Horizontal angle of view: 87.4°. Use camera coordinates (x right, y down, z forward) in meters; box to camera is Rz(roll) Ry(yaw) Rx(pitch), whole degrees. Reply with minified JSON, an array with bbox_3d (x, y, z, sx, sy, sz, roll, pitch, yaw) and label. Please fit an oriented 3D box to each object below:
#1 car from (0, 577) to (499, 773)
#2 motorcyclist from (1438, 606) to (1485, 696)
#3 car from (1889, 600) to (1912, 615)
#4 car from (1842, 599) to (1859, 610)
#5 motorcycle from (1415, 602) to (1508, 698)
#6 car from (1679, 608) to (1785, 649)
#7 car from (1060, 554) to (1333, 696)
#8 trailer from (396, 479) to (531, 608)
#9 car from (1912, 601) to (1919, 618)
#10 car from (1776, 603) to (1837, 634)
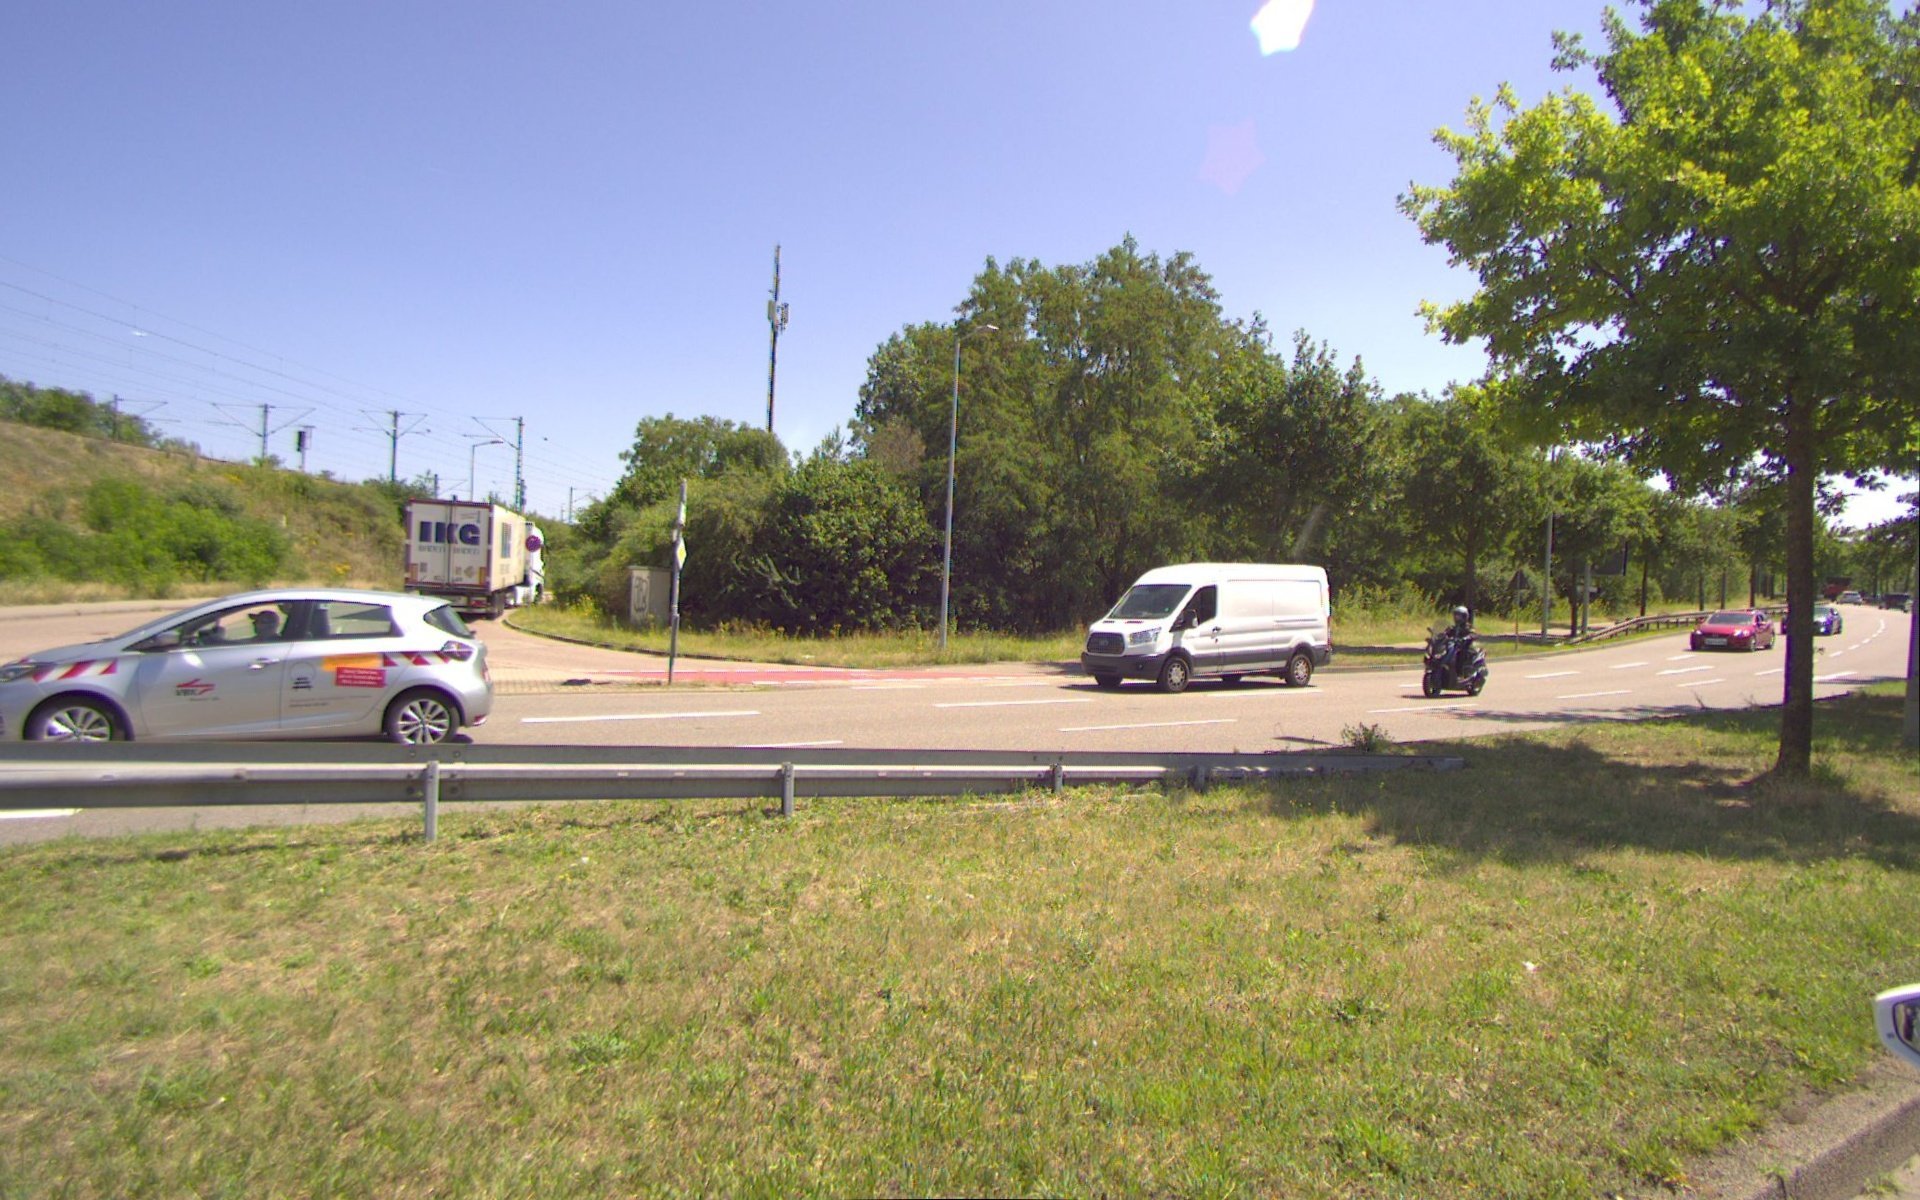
[{"bbox_3d":[-6.690,0.643,9.641,4.022,1.588,1.627,1,-1,-28],"label":"car"},{"bbox_3d":[9.457,0.945,18.942,0.557,1.648,0.582,2,0,-37],"label":"motorcyclist"},{"bbox_3d":[86.332,0.683,92.202,1.401,1.331,3.320,2,0,41],"label":"car"},{"bbox_3d":[98.457,0.502,111.057,1.306,1.154,2.980,2,0,40],"label":"car"},{"bbox_3d":[9.482,0.933,18.950,2.405,1.700,0.593,2,0,-39],"label":"motorcycle"},{"bbox_3d":[28.862,1.089,37.515,4.479,1.456,1.820,2,-2,-34],"label":"car"},{"bbox_3d":[4.898,0.442,20.359,5.748,2.534,2.081,0,0,-34],"label":"car"},{"bbox_3d":[-18.599,-1.838,38.536,2.974,4.104,12.650,0,0,-19],"label":"trailer"},{"bbox_3d":[78.862,0.776,81.992,1.440,1.331,3.619,2,0,41],"label":"car"},{"bbox_3d":[41.283,0.919,48.934,4.538,1.351,1.792,2,0,-44],"label":"car"}]
